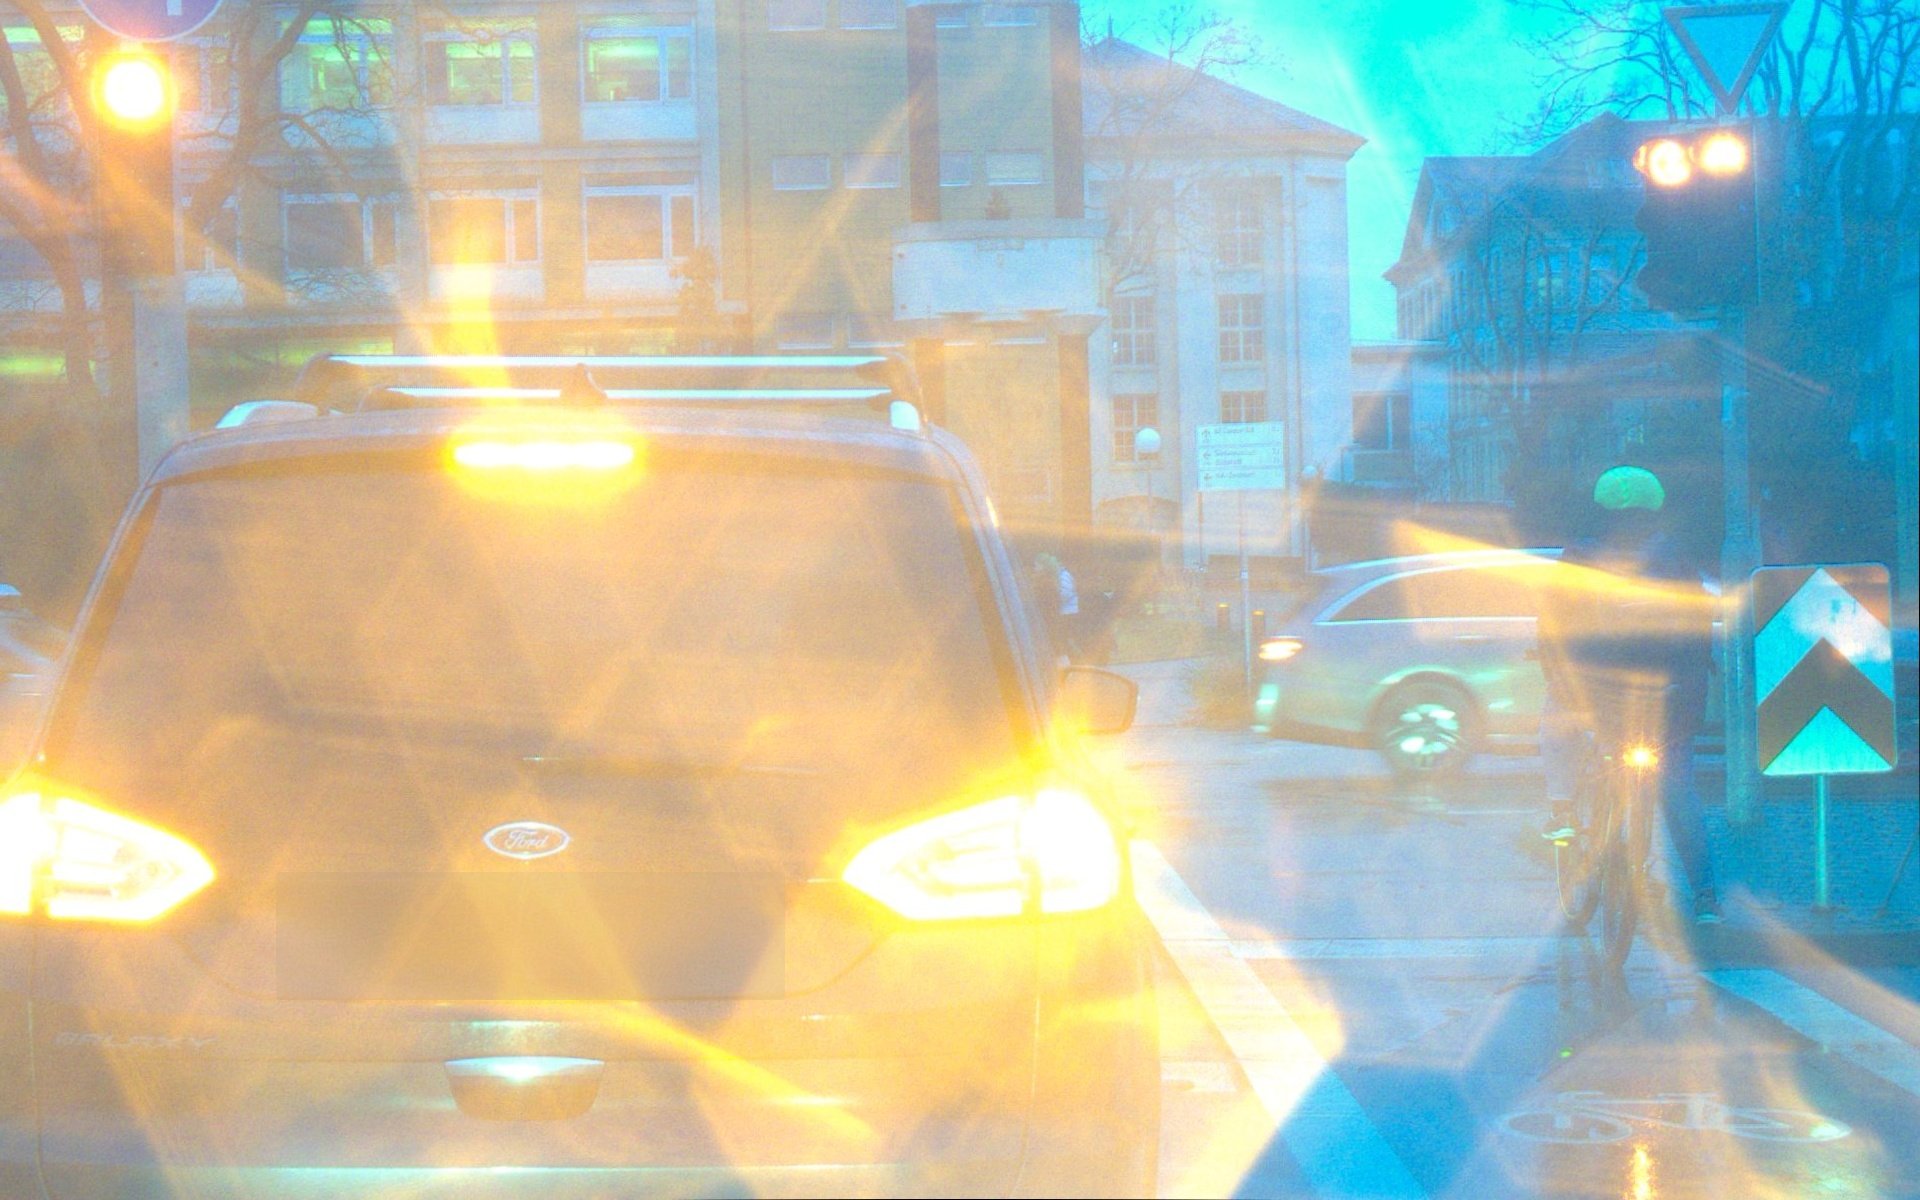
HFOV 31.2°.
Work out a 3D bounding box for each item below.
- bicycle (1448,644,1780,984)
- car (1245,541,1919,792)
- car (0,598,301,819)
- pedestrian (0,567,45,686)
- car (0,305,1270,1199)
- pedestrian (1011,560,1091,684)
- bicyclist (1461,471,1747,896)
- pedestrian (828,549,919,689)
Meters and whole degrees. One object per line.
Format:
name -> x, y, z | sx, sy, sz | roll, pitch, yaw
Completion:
bicycle -> 2.305, 0.723, 12.365 | 0.783, 1.071, 1.957 | 1, 1, -1
car -> 4.289, 0.415, 22.418 | 4.658, 1.472, 1.810 | -2, 0, 10
car -> -7.325, 0.795, 24.834 | 4.658, 1.472, 1.810 | -2, 0, 11
pedestrian -> -13.341, 0.374, 47.983 | 0.760, 1.622, 0.721 | -2, 1, 20
car -> -0.620, 0.489, 6.568 | 1.993, 1.783, 4.000 | 1, 1, -1
pedestrian -> 1.173, 0.278, 44.075 | 0.924, 1.527, 1.043 | -2, 1, 4
bicyclist -> 2.291, 0.280, 12.351 | 0.783, 1.448, 1.134 | 1, 0, -1
pedestrian -> -1.135, 0.242, 45.207 | 0.997, 1.793, 0.919 | -2, 1, 9
